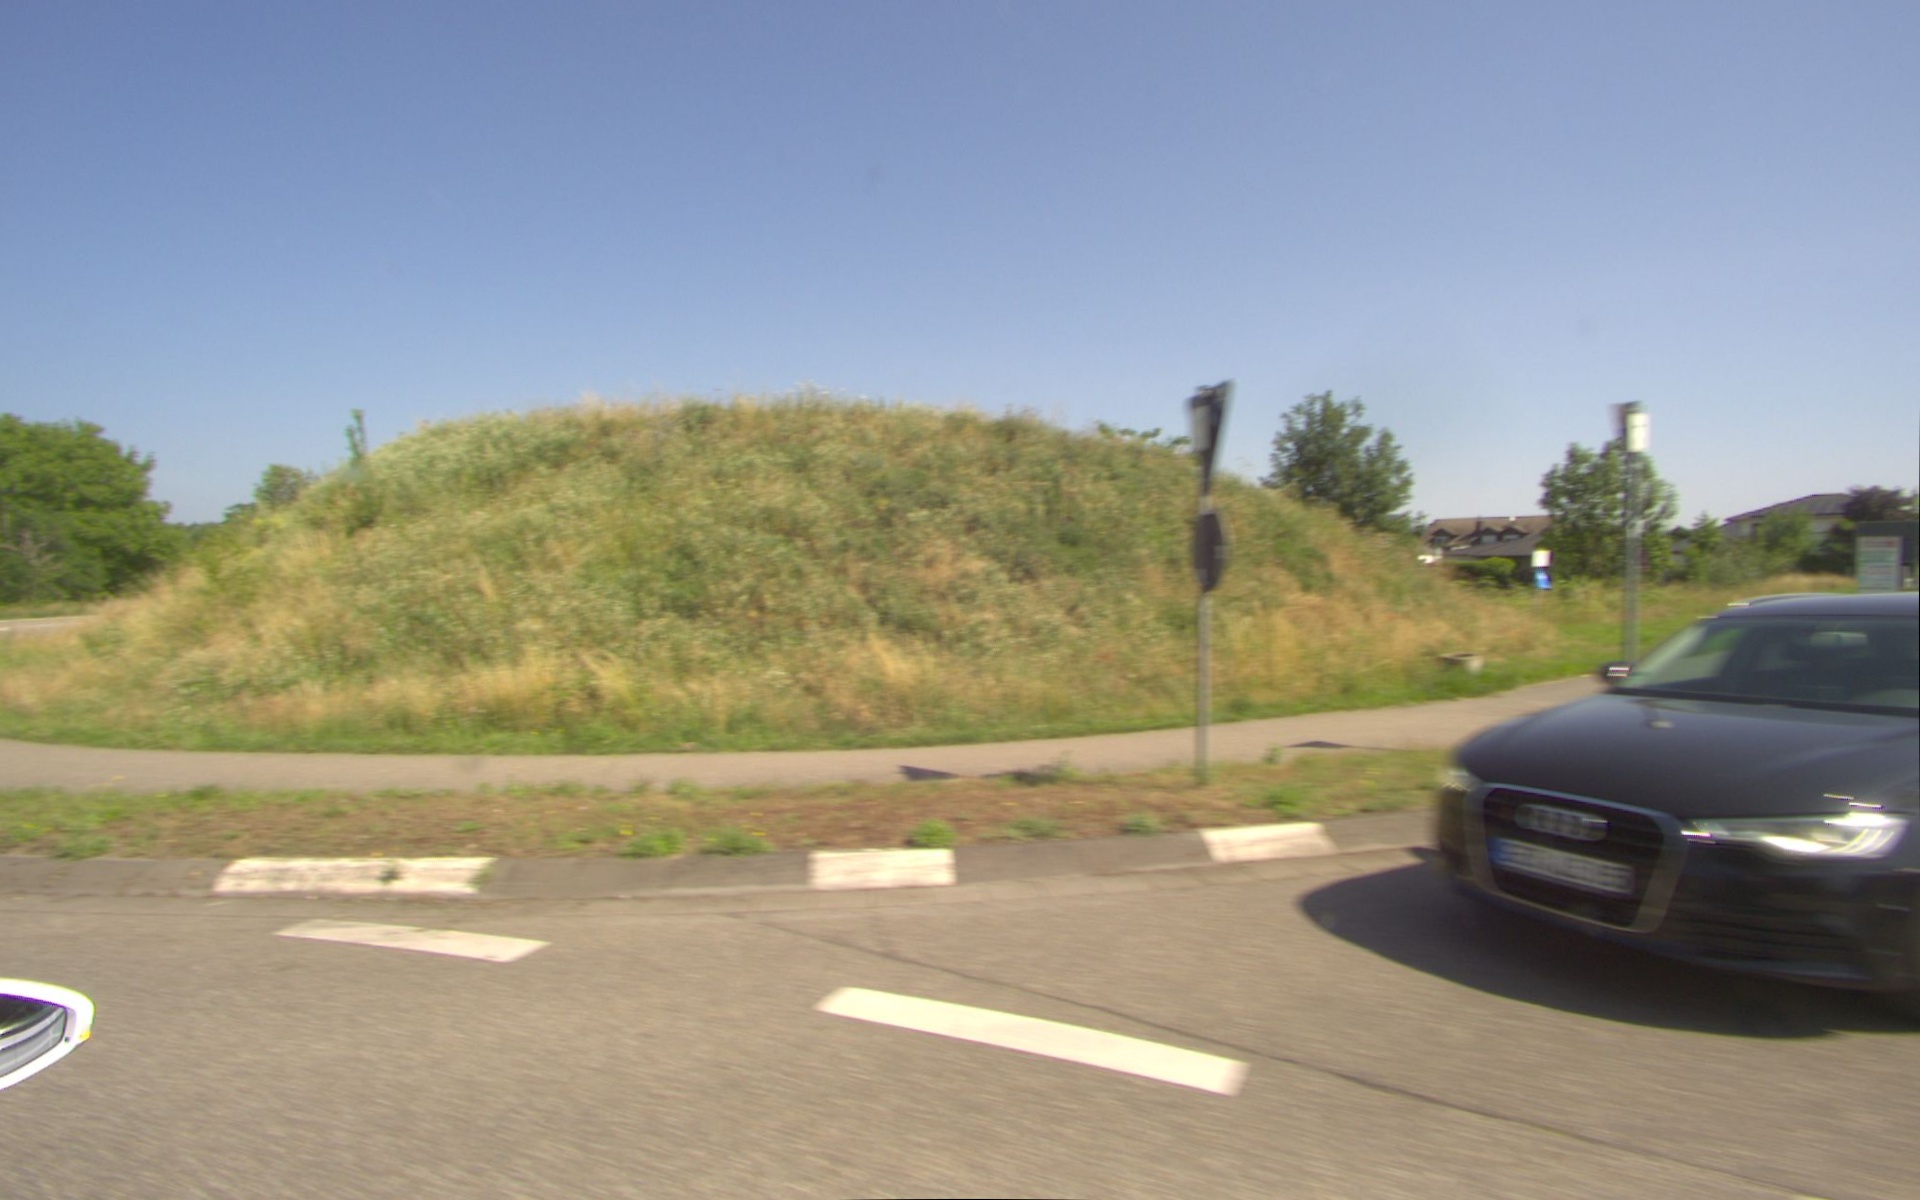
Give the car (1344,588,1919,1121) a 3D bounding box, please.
[{"bbox_3d":[4.294,0.677,4.692,4.836,1.453,1.915,-1,0,-27],"label":"car"}]
